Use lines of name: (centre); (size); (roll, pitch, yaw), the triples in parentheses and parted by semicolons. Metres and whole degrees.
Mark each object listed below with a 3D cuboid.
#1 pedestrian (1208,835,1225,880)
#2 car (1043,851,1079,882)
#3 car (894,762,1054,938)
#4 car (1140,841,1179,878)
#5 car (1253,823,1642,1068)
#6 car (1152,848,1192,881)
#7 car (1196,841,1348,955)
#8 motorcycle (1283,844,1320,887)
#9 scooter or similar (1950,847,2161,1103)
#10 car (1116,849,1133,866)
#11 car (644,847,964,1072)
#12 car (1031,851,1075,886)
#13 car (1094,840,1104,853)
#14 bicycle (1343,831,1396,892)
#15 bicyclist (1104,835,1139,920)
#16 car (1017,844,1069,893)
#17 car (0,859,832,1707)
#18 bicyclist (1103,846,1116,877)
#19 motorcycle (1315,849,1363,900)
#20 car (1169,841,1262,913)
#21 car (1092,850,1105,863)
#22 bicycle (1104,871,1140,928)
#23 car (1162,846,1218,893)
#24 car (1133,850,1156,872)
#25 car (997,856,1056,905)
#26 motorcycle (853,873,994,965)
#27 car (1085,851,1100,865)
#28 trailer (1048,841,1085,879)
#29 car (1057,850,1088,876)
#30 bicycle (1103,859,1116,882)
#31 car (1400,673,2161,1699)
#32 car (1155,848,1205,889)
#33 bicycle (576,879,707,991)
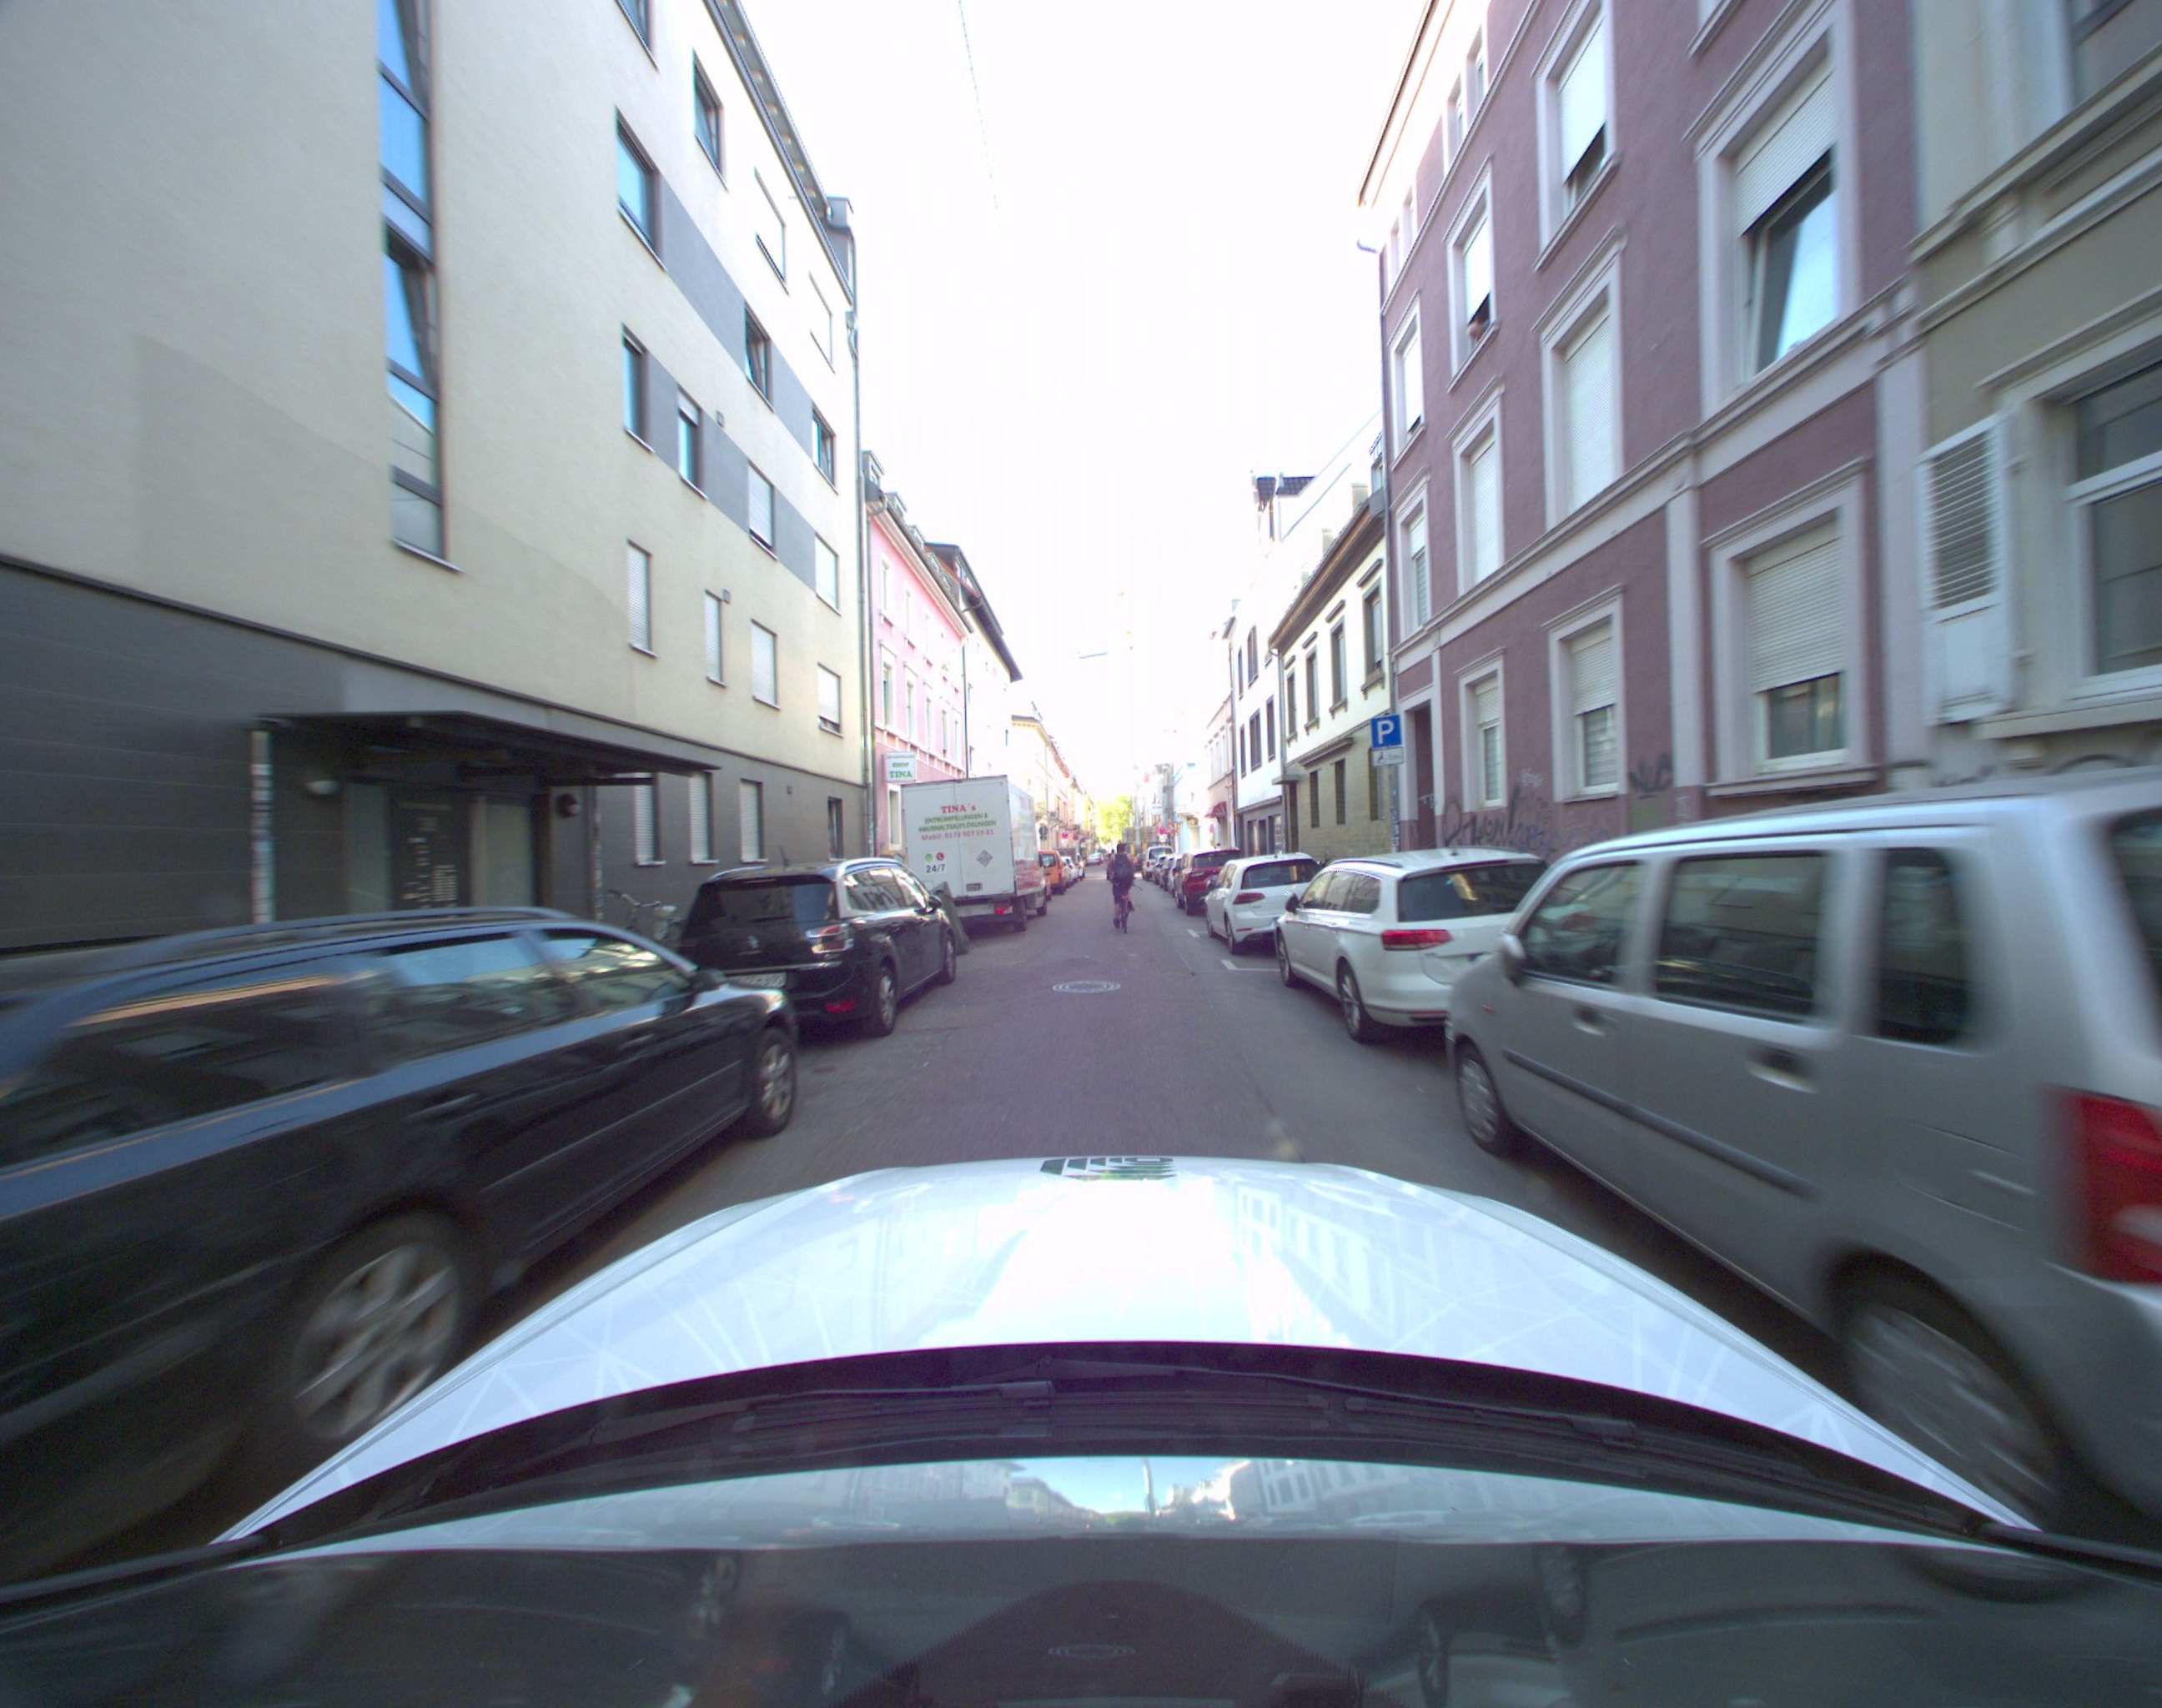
pedestrian: (6.206, 0.164, 37.245); (0.641, 2.014, 0.764); (-1, -1, 2)
car: (-1.046, 0.656, 44.347); (1.647, 1.537, 3.636); (-3, 0, 2)
car: (-2.214, -0.058, 19.513); (2.334, 3.291, 7.159); (-4, 0, 3)
car: (4.339, 0.314, 45.576); (1.744, 1.878, 3.972); (-3, 0, 0)
car: (2.949, 0.626, 7.792); (1.690, 1.543, 4.631); (-4, 0, 2)
car: (4.459, 0.526, 40.503); (1.742, 1.487, 3.803); (-3, 0, 4)
car: (3.061, 0.650, 13.864); (1.680, 1.543, 4.048); (-4, 0, 2)
motorcycle: (6.047, 0.317, 22.373); (0.499, 1.095, 1.879); (-4, -1, 2)
scooter or similar: (5.302, 0.572, 4.033); (0.448, 1.182, 1.369); (-5, -1, 2)
car: (4.238, 0.324, 79.113); (1.605, 1.560, 3.612); (-1, 0, 2)
car: (-2.530, 0.833, 8.661); (1.710, 1.650, 4.248); (-4, 1, 2)
car: (-1.300, 0.678, 39.301); (1.743, 1.537, 4.321); (-3, 0, 2)
car: (3.299, -1.404, 149.872); (1.743, 2.318, 3.798); (-3, 0, 2)
bicycle: (5.857, 0.142, 16.600); (0.519, 1.173, 1.686); (-1, 0, 2)
bicyclist: (0.822, 0.464, 16.700); (0.665, 1.676, 1.097); (-1, -1, 2)
car: (-1.496, 0.584, 33.701); (1.746, 1.816, 4.079); (-4, -1, 2)
car: (-2.666, 0.877, 3.257); (1.710, 1.478, 4.501); (-4, 1, 2)
bicyclist: (1.441, 0.377, 41.348); (0.668, 1.567, 0.716); (-1, -1, 1)
motorcycle: (6.060, 0.467, 19.217); (0.556, 1.095, 1.777); (-4, -1, 2)
car: (3.486, 0.541, 21.845); (1.910, 1.706, 4.368); (-1, 0, 2)
car: (2.628, 0.404, 119.777); (1.743, 1.821, 3.798); (-3, 0, 2)
bicycle: (0.826, 0.901, 16.735); (0.674, 1.074, 1.942); (-1, 0, 2)
car: (3.936, 0.551, 29.982); (1.660, 1.505, 3.819); (-5, 0, 3)
car: (4.878, 0.535, 62.849); (1.605, 1.633, 3.612); (-1, 0, 2)
car: (-1.843, 0.884, 28.392); (1.572, 1.483, 3.566); (-5, -1, 2)
motorcycle: (-2.523, 1.013, 13.279); (0.782, 1.253, 2.120); (-4, 0, 43)
car: (1.447, 0.463, 102.255); (1.743, 1.683, 3.798); (-3, 0, 2)
trailer: (-0.827, 0.366, 49.012); (1.874, 2.092, 3.739); (-3, 0, 2)
car: (-0.538, 0.572, 53.258); (1.743, 1.573, 3.798); (-3, 0, 2)
bicycle: (1.455, 0.816, 41.340); (0.646, 1.129, 2.137); (-1, 0, 2)
car: (2.631, 0.556, 3.069); (1.550, 1.712, 3.560); (-1, 0, 2)
car: (4.166, 0.592, 34.744); (1.640, 1.475, 3.973); (-6, -1, 2)
bicycle: (-5.335, 0.934, 10.020); (0.488, 1.164, 1.775); (-4, 0, 3)
